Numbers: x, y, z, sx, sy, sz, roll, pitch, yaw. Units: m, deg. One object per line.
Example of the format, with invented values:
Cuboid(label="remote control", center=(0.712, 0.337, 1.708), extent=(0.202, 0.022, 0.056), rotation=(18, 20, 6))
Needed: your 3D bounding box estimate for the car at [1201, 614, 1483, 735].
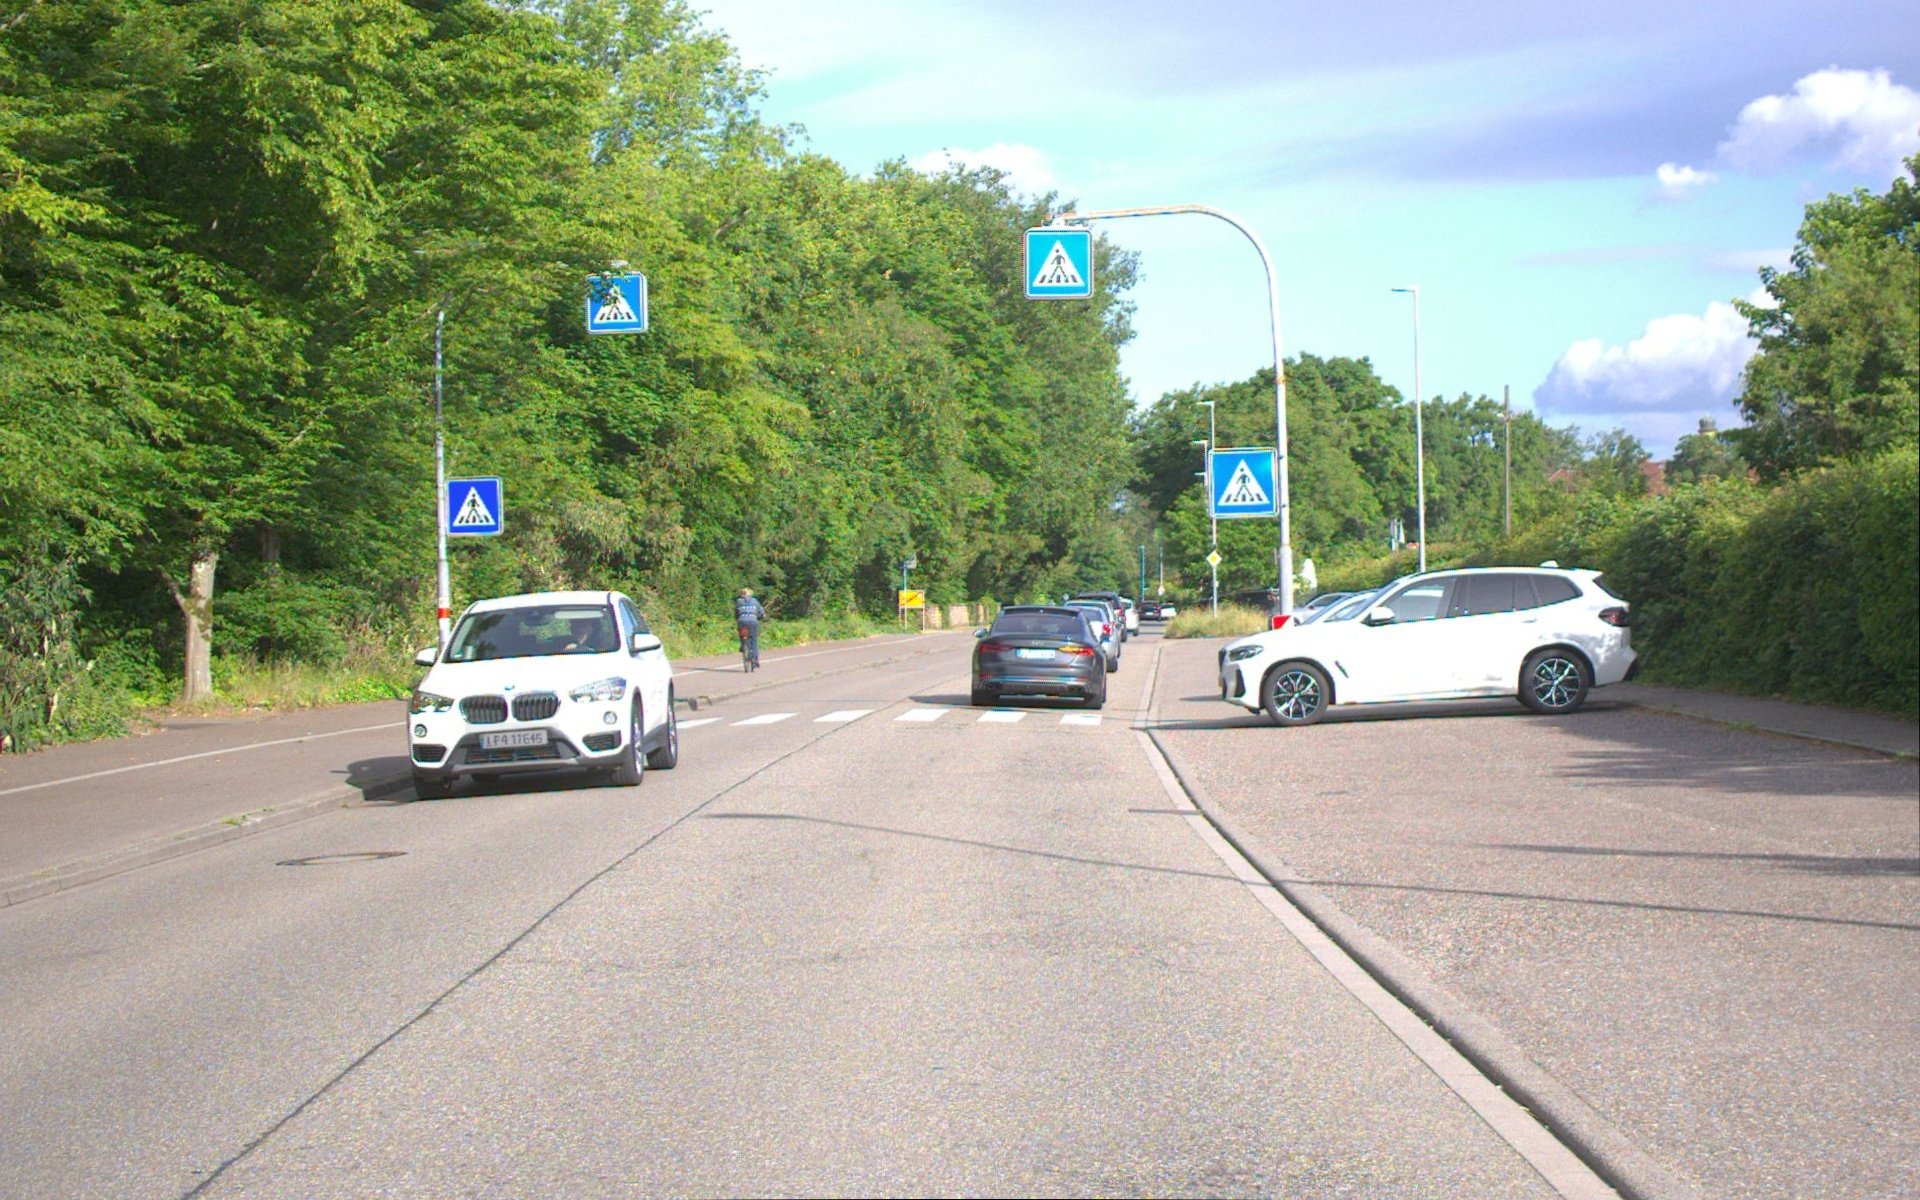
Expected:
Cuboid(label="car", center=(5.508, 1.072, 49.902), extent=(3.857, 1.485, 1.692), rotation=(-3, 0, 2))

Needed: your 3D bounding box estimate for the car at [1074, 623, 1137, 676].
Cuboid(label="car", center=(3.664, 1.241, 86.367), extent=(1.495, 1.300, 3.261), rotation=(-1, -1, 4))

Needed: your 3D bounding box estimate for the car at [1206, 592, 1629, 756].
Cuboid(label="car", center=(5.100, 0.837, 38.827), extent=(4.588, 1.694, 1.763), rotation=(-2, -1, 4))

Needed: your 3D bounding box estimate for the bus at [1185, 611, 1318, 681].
Cuboid(label="bus", center=(12.202, 1.922, 144.180), extent=(5.365, 2.737, 2.068), rotation=(-2, -1, 1))

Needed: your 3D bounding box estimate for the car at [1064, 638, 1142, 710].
Cuboid(label="car", center=(2.809, 1.439, 67.659), extent=(1.495, 1.361, 3.261), rotation=(-1, -1, 2))

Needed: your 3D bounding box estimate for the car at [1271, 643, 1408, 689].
Cuboid(label="car", center=(12.611, 2.197, 114.208), extent=(4.364, 1.438, 1.931), rotation=(-1, -2, 10))

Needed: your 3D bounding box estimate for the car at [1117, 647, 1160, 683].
Cuboid(label="car", center=(6.997, 2.524, 134.498), extent=(1.495, 1.361, 3.261), rotation=(-1, -1, 6))

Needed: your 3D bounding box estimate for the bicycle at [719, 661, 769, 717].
Cuboid(label="bicycle", center=(-4.351, 1.786, 69.286), extent=(0.662, 1.093, 2.348), rotation=(2, -1, 4))

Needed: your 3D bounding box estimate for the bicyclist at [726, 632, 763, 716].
Cuboid(label="bicyclist", center=(-4.341, 1.483, 69.246), extent=(0.609, 1.671, 0.883), rotation=(1, -1, 4))

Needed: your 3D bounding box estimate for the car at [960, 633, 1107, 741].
Cuboid(label="car", center=(1.066, 1.204, 48.754), extent=(1.966, 1.430, 4.335), rotation=(1, -1, 2))

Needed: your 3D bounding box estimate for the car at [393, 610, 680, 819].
Cuboid(label="car", center=(-3.458, 0.942, 28.764), extent=(1.802, 1.580, 4.101), rotation=(-1, -1, 1))
